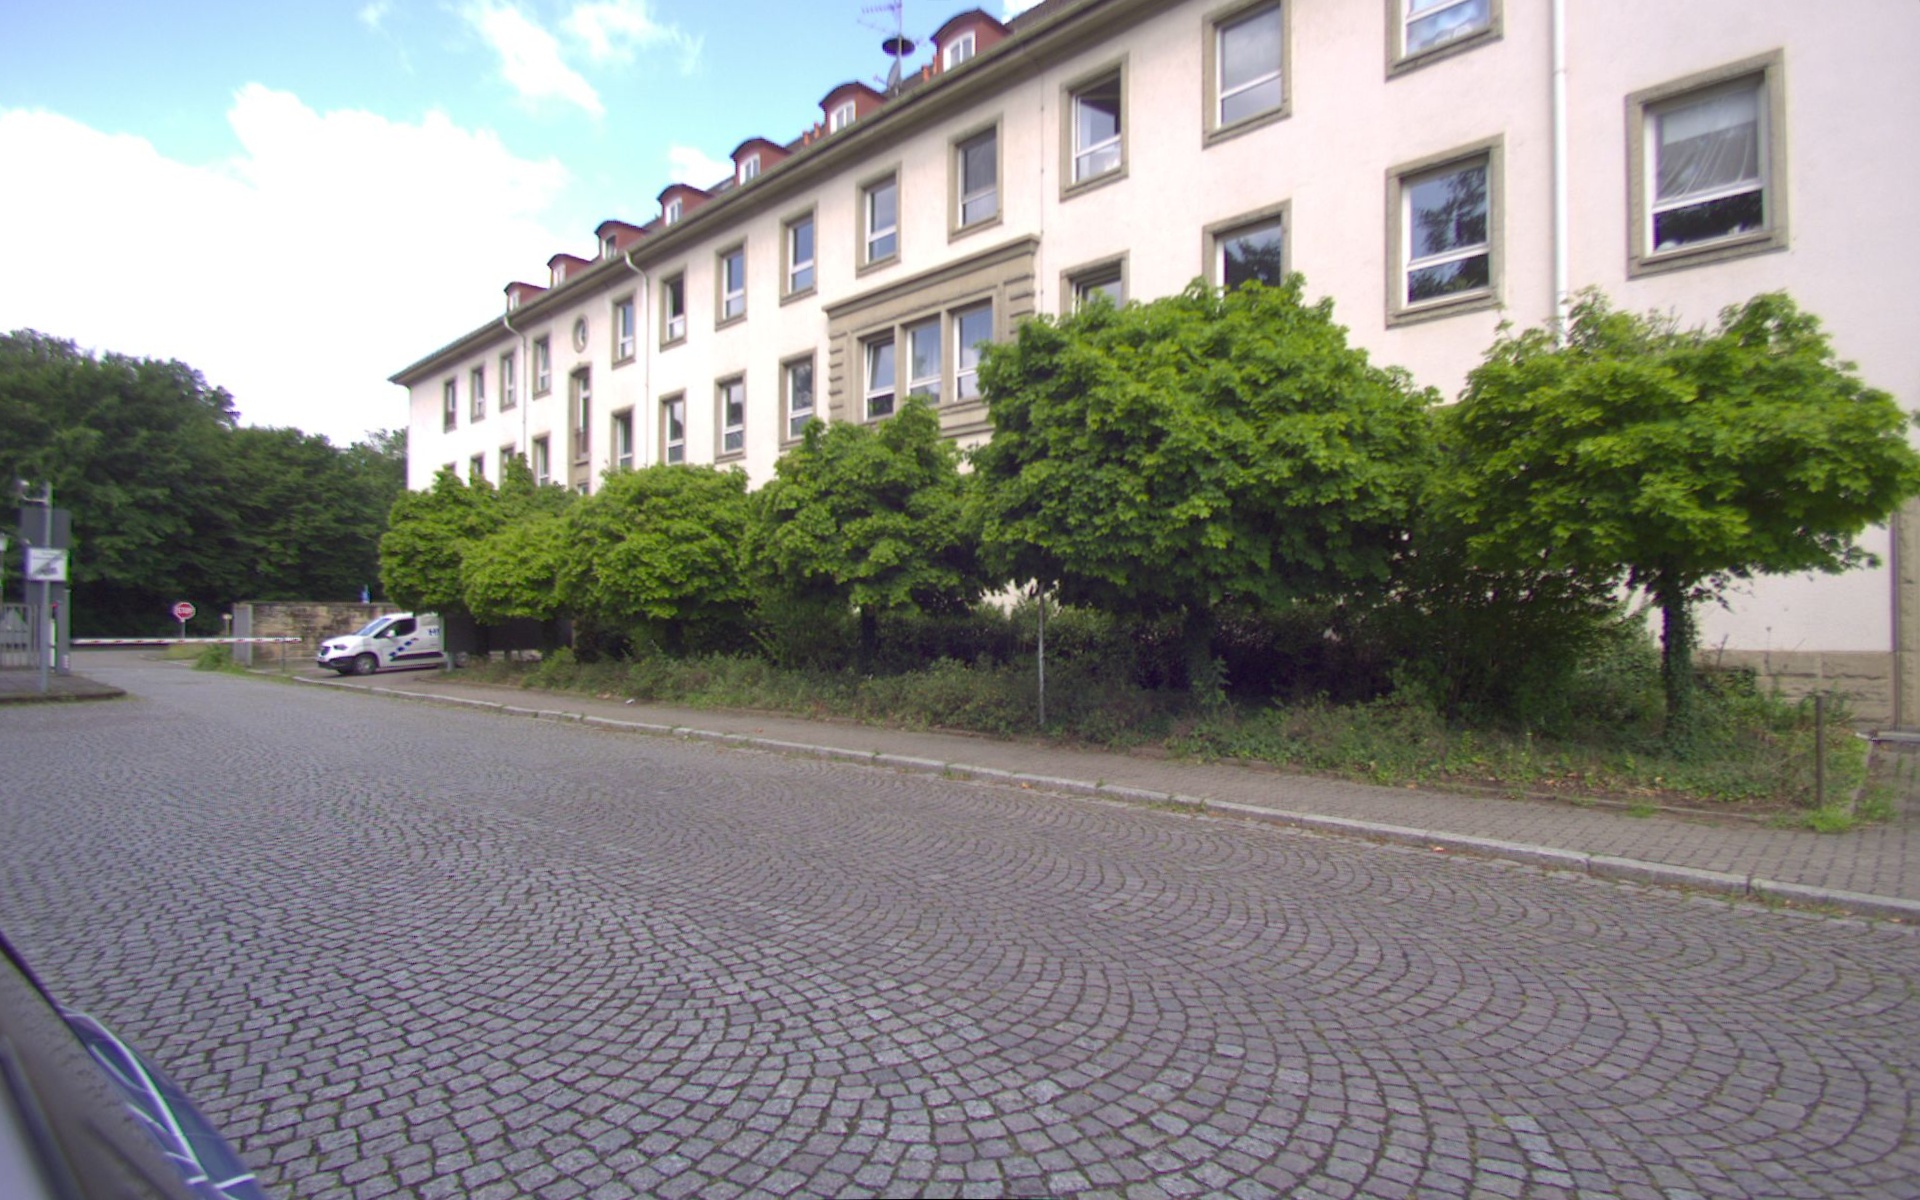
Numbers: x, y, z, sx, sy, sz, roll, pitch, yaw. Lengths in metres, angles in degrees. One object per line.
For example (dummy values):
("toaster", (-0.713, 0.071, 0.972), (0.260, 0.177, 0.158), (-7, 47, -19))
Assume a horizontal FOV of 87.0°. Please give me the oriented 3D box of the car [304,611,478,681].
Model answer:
("car", (-17.309, 1.323, 30.934), (1.820, 1.819, 4.256), (-1, 1, 41))
